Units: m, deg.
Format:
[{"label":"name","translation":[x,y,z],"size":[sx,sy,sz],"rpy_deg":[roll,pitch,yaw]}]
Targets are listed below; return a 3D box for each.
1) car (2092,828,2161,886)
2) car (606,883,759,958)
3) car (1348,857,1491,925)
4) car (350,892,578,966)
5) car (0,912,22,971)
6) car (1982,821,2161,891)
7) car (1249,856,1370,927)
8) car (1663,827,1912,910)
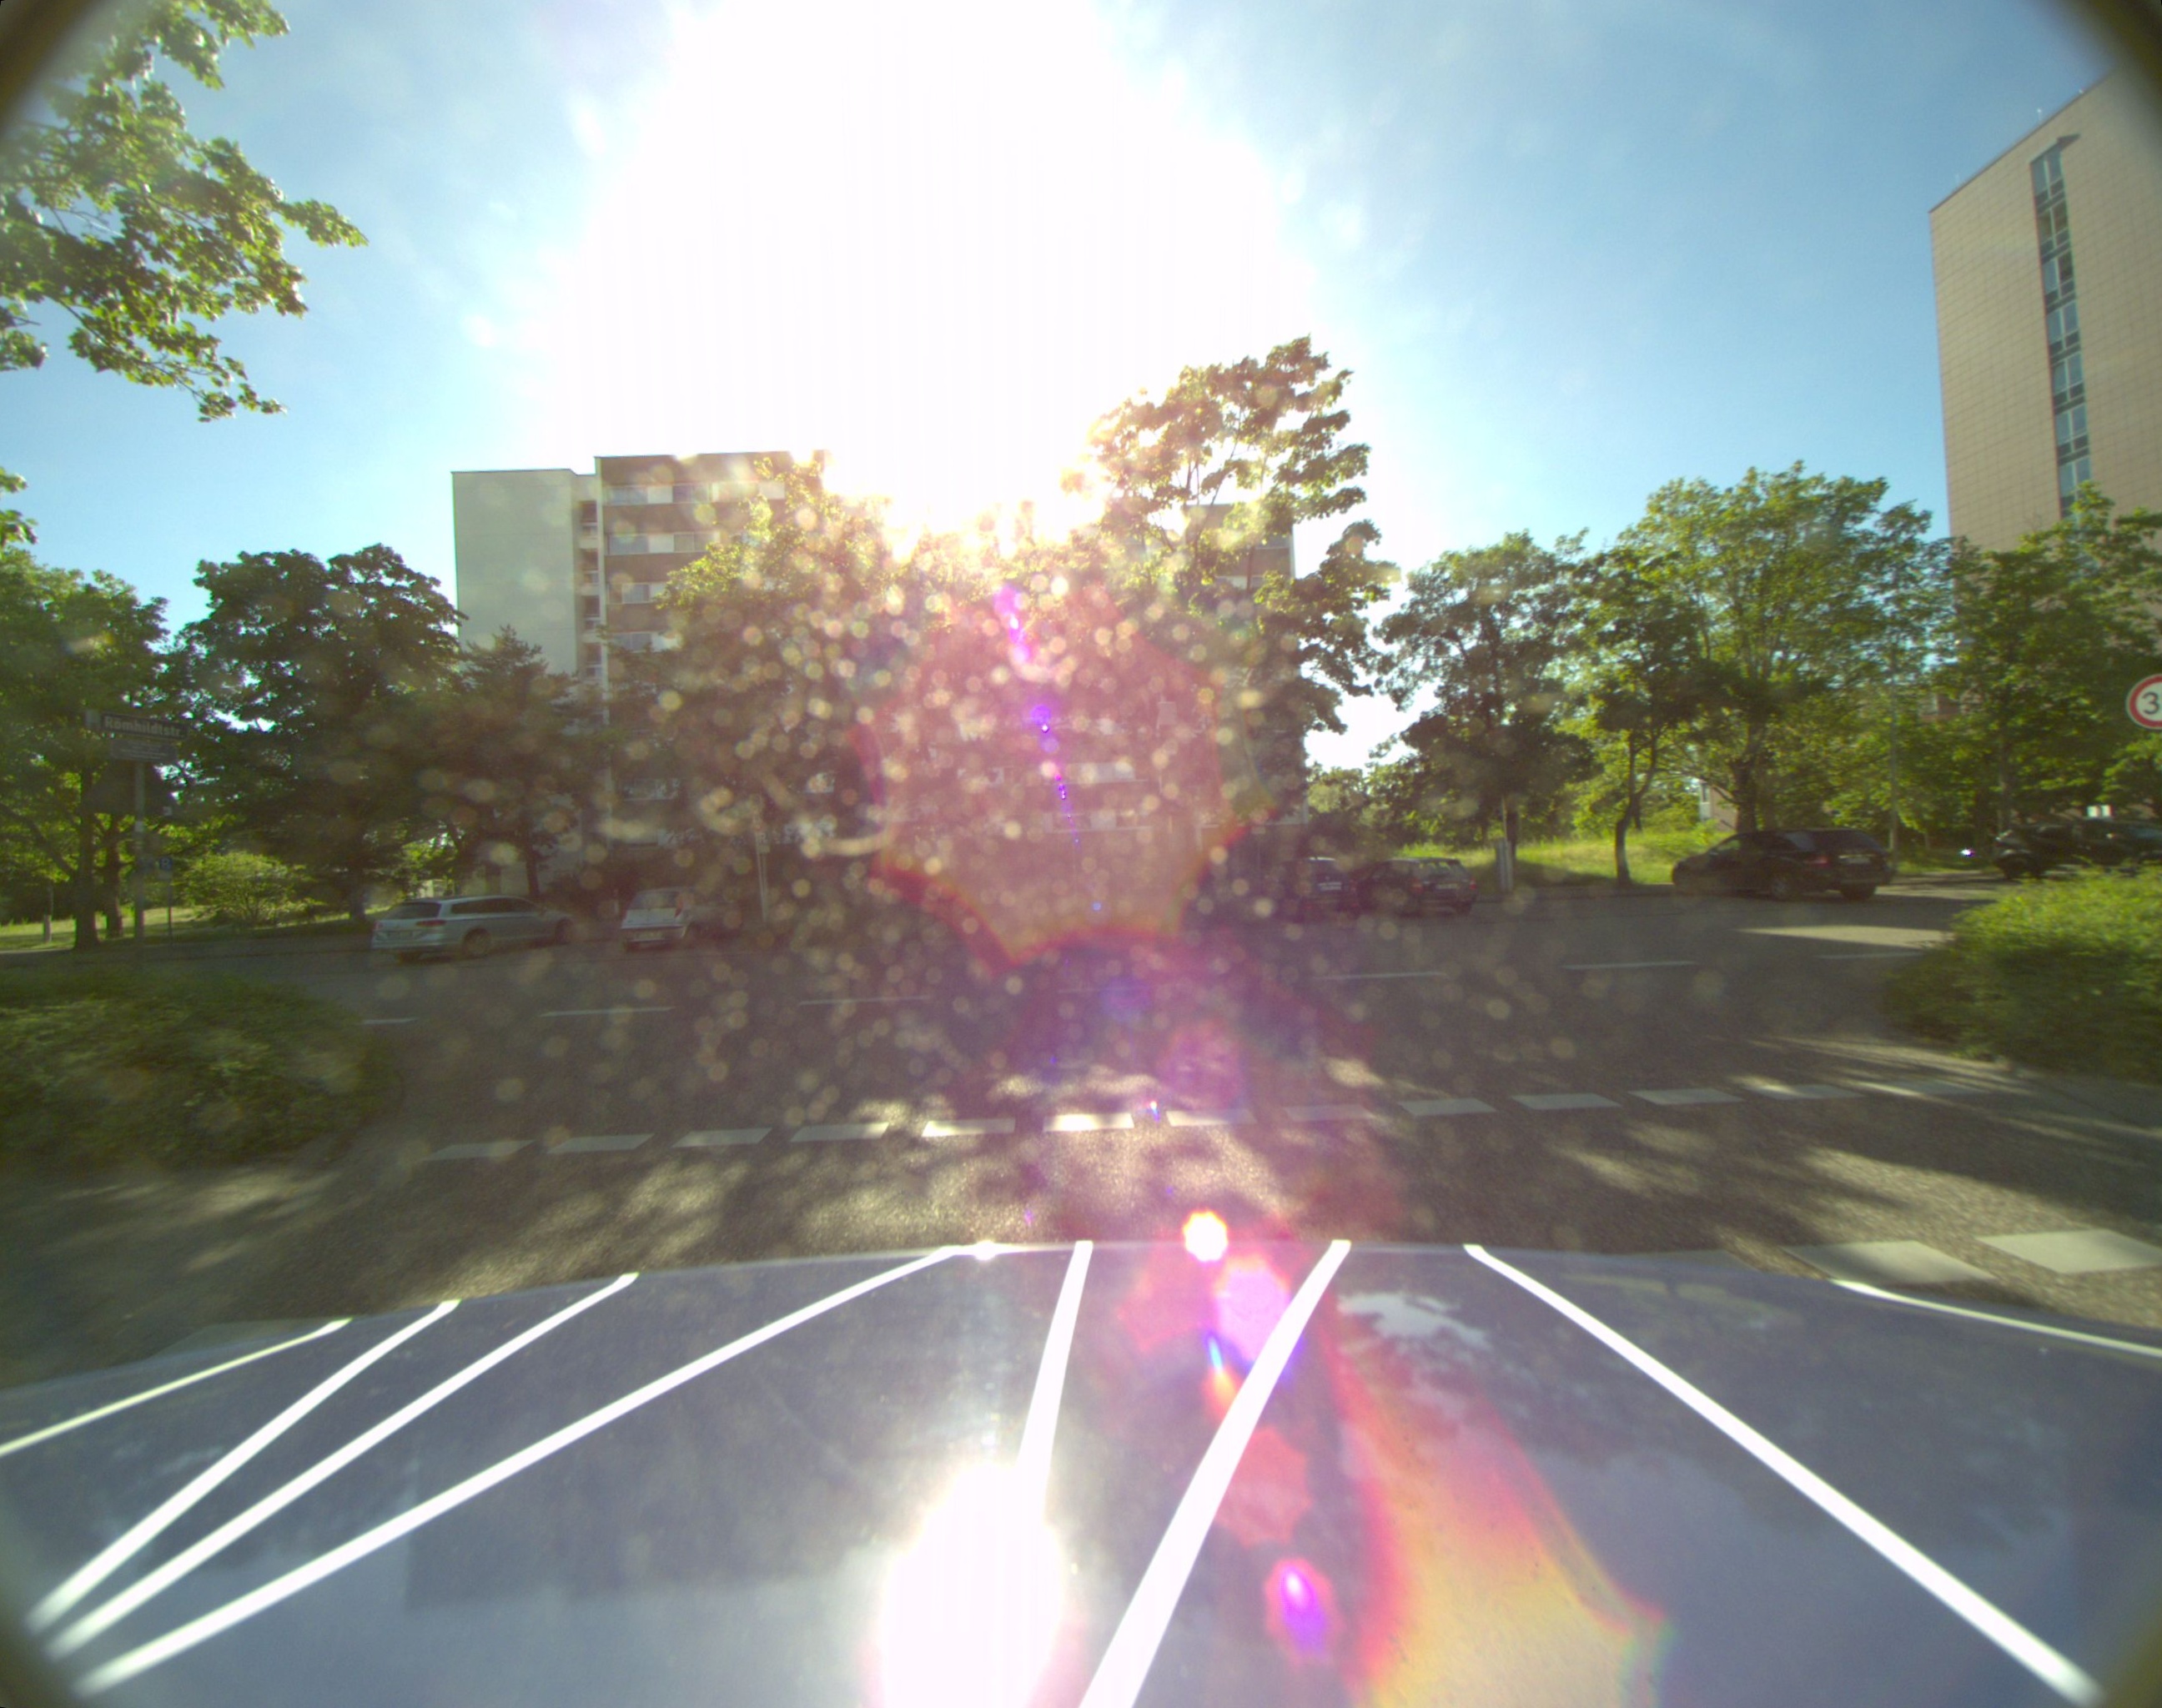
[{"label":"car","translation":[29.504,0.015,19.198],"size":[1.816,1.535,4.457],"rpy_deg":[-3,-2,-3]},{"label":"car","translation":[-9.914,1.590,19.300],"size":[1.716,1.442,3.999],"rpy_deg":[-2,1,0]},{"label":"car","translation":[8.462,0.859,19.426],"size":[1.821,1.379,3.999],"rpy_deg":[-2,2,0]},{"label":"car","translation":[-14.751,1.726,18.544],"size":[1.825,1.419,4.291],"rpy_deg":[-3,-1,4]},{"label":"car","translation":[-28.611,2.332,17.708],"size":[1.737,1.481,4.355],"rpy_deg":[-3,1,-2]},{"label":"car","translation":[26.421,0.012,19.419],"size":[1.733,1.608,4.130],"rpy_deg":[-3,0,-2]},{"label":"car","translation":[5.680,0.873,19.360],"size":[1.700,1.490,3.819],"rpy_deg":[-2,1,-3]},{"label":"car","translation":[17.596,0.316,19.325],"size":[1.999,1.769,4.601],"rpy_deg":[-3,0,0]}]
